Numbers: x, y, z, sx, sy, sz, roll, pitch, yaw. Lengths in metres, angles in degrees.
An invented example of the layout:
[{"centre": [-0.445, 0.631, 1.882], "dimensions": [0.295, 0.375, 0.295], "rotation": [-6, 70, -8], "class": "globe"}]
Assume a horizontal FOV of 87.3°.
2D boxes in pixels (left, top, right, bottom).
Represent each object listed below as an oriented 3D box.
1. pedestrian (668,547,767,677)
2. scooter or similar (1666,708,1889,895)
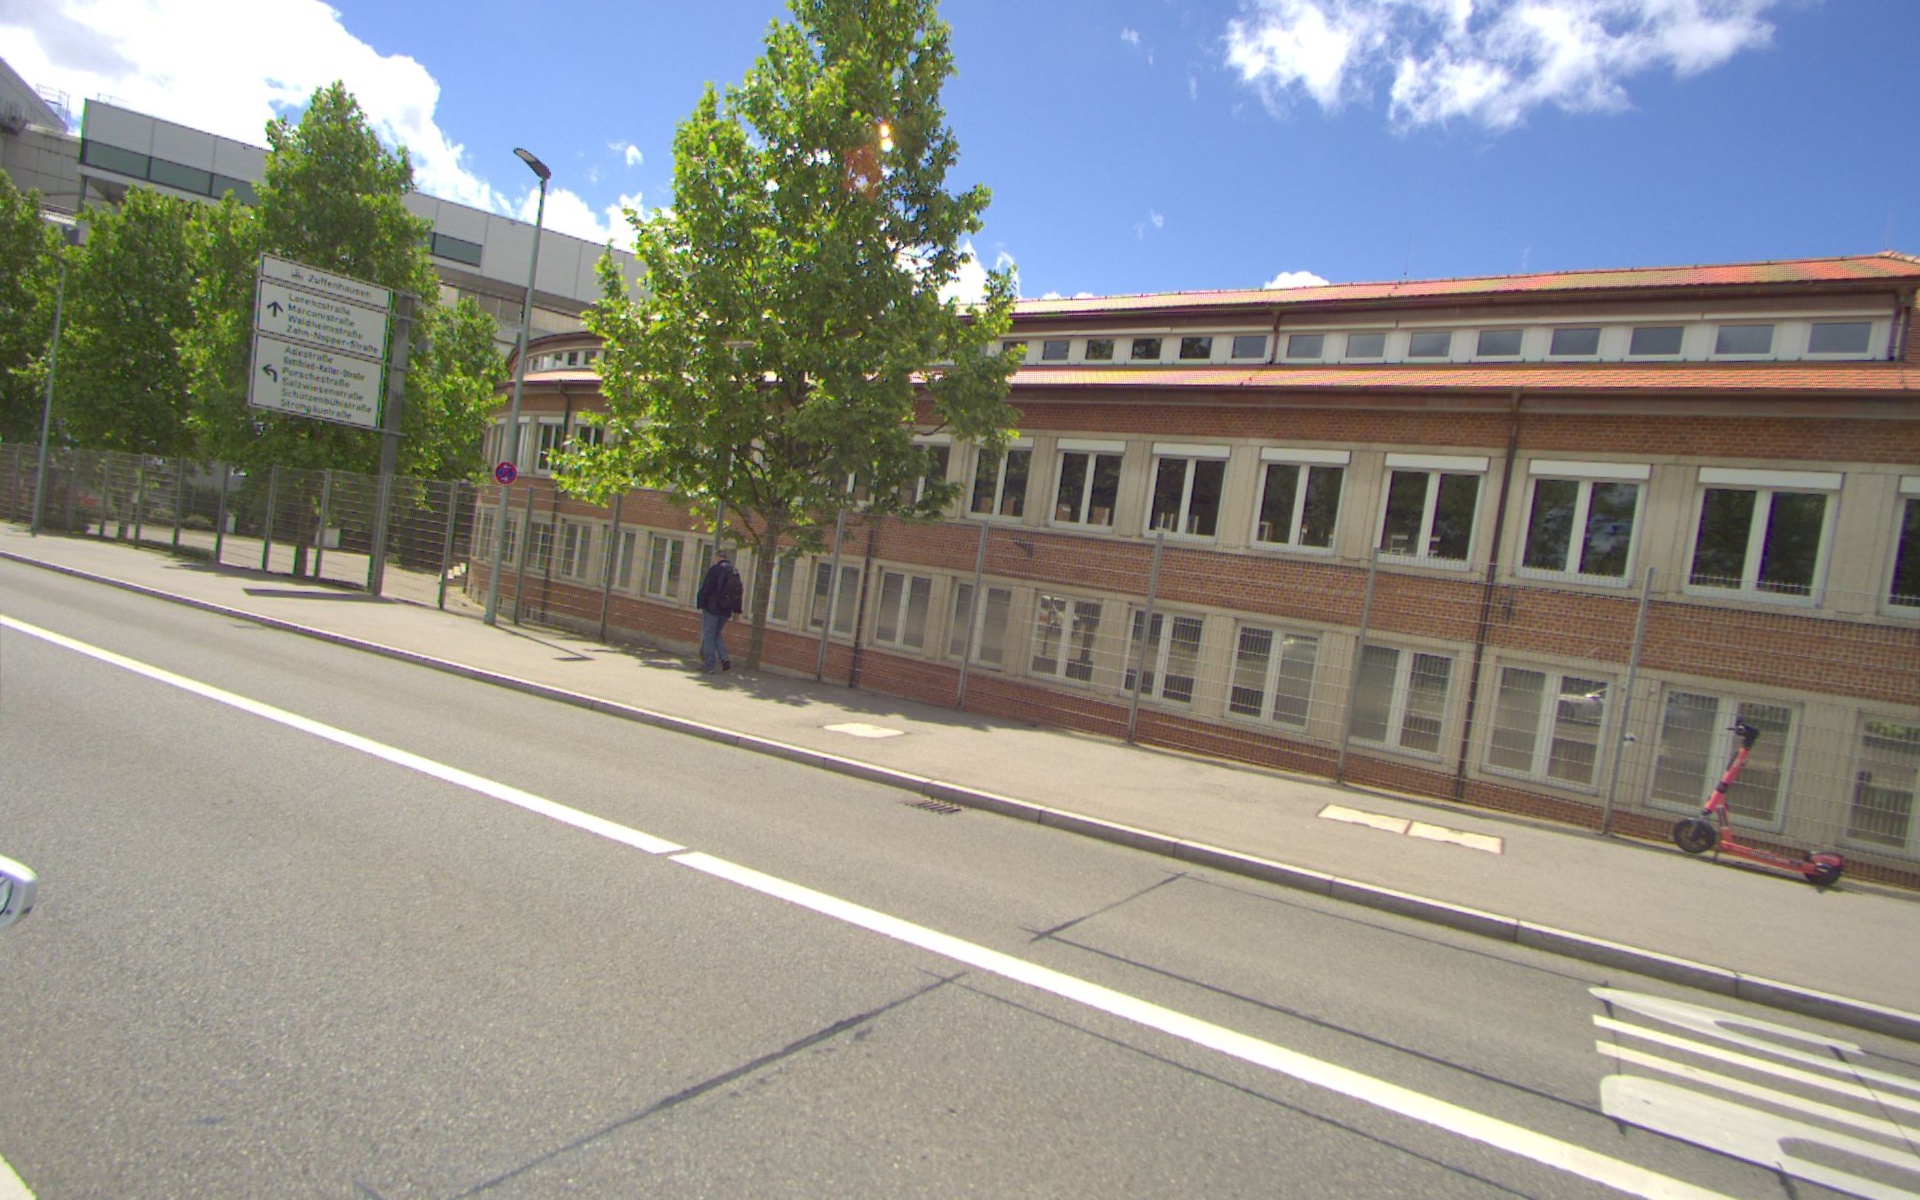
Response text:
[{"centre": [-3.539, 0.177, 14.713], "dimensions": [0.925, 1.766, 0.877], "rotation": [7, 3, 32], "class": "pedestrian"}, {"centre": [7.052, 1.707, 8.754], "dimensions": [1.314, 1.311, 0.491], "rotation": [7, 2, 32], "class": "scooter or similar"}]
